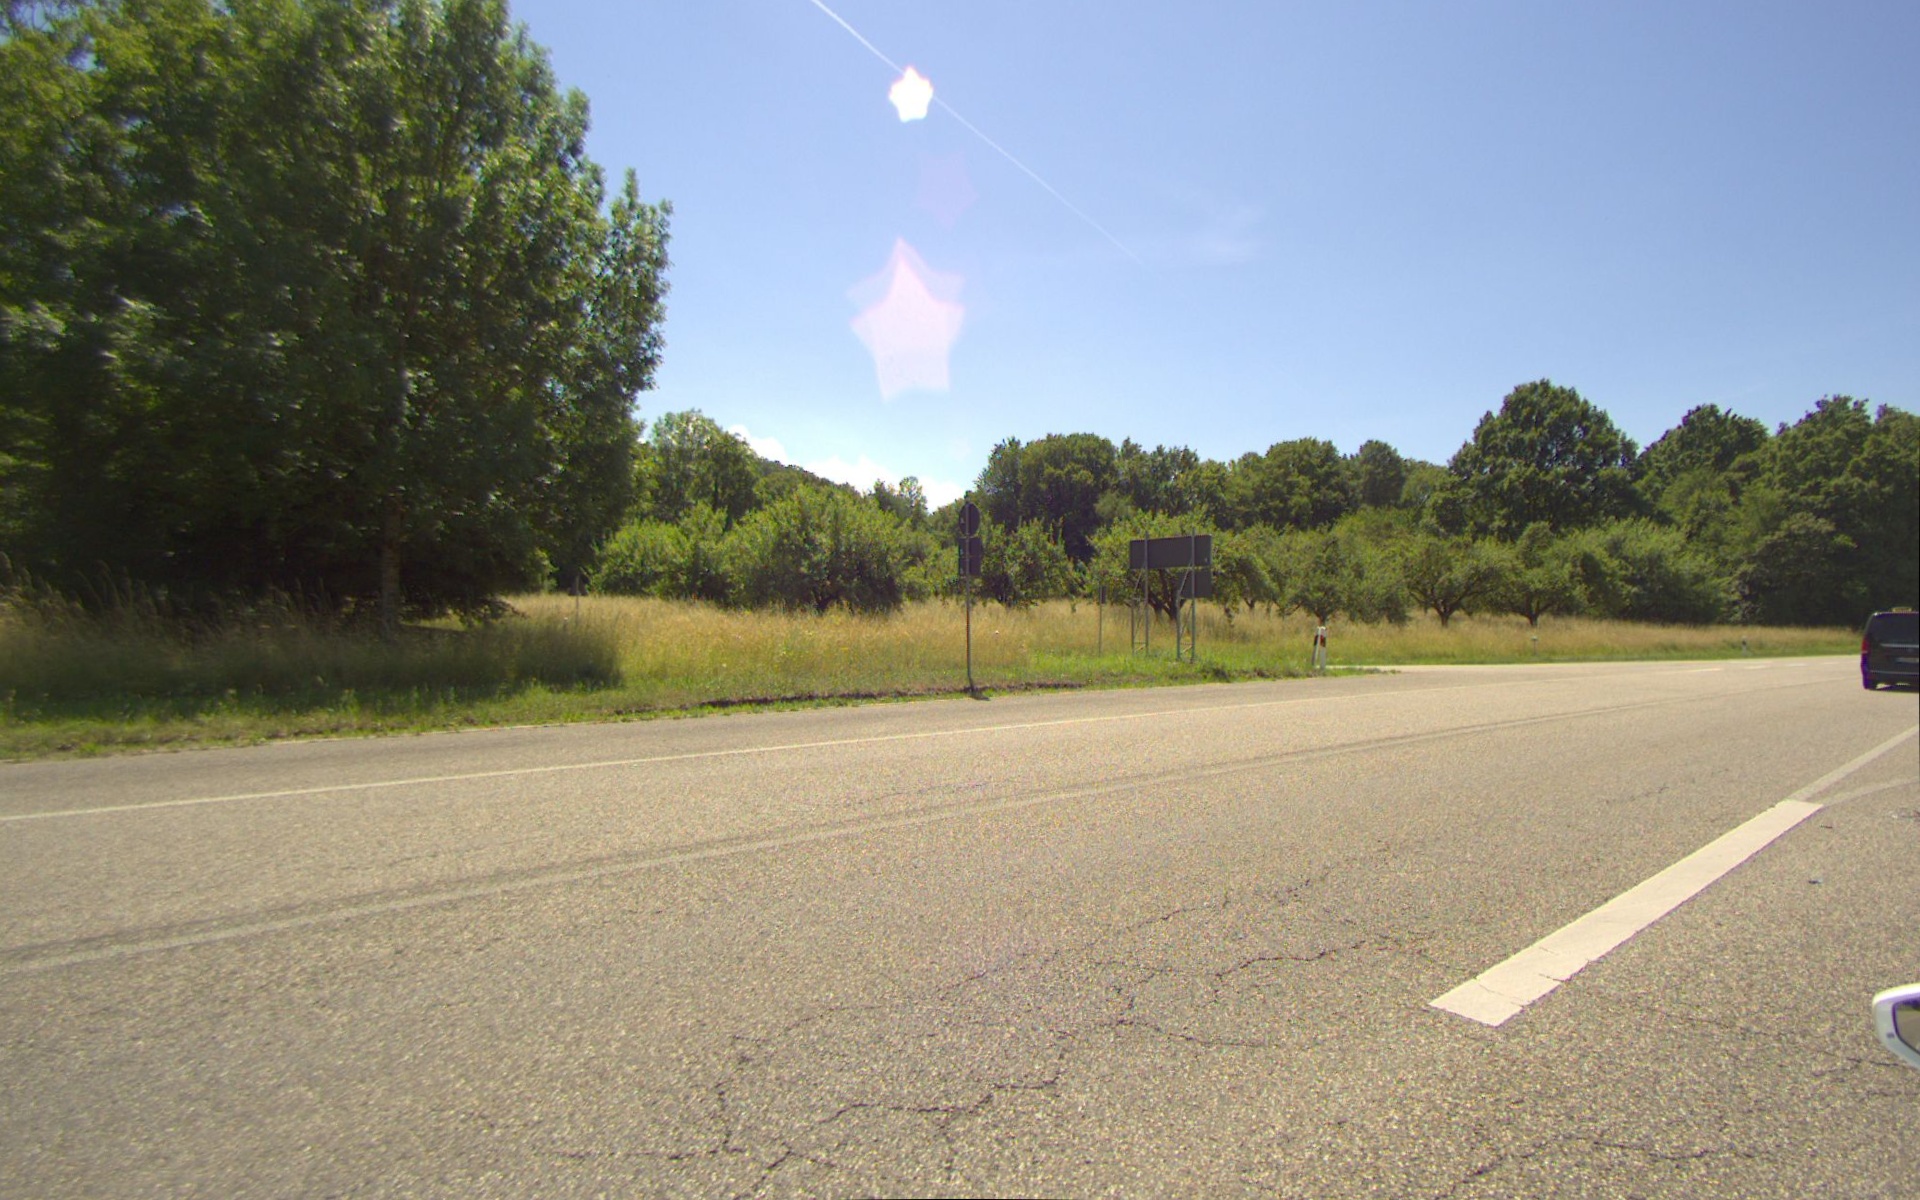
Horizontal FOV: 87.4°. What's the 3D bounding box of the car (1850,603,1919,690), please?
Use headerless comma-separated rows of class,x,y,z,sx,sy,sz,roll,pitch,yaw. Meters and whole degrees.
car,23.323,1.101,24.368,4.055,1.974,1.977,1,0,-40

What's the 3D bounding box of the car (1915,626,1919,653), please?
car,60.223,2.446,61.447,4.055,1.657,2.099,1,0,-40
